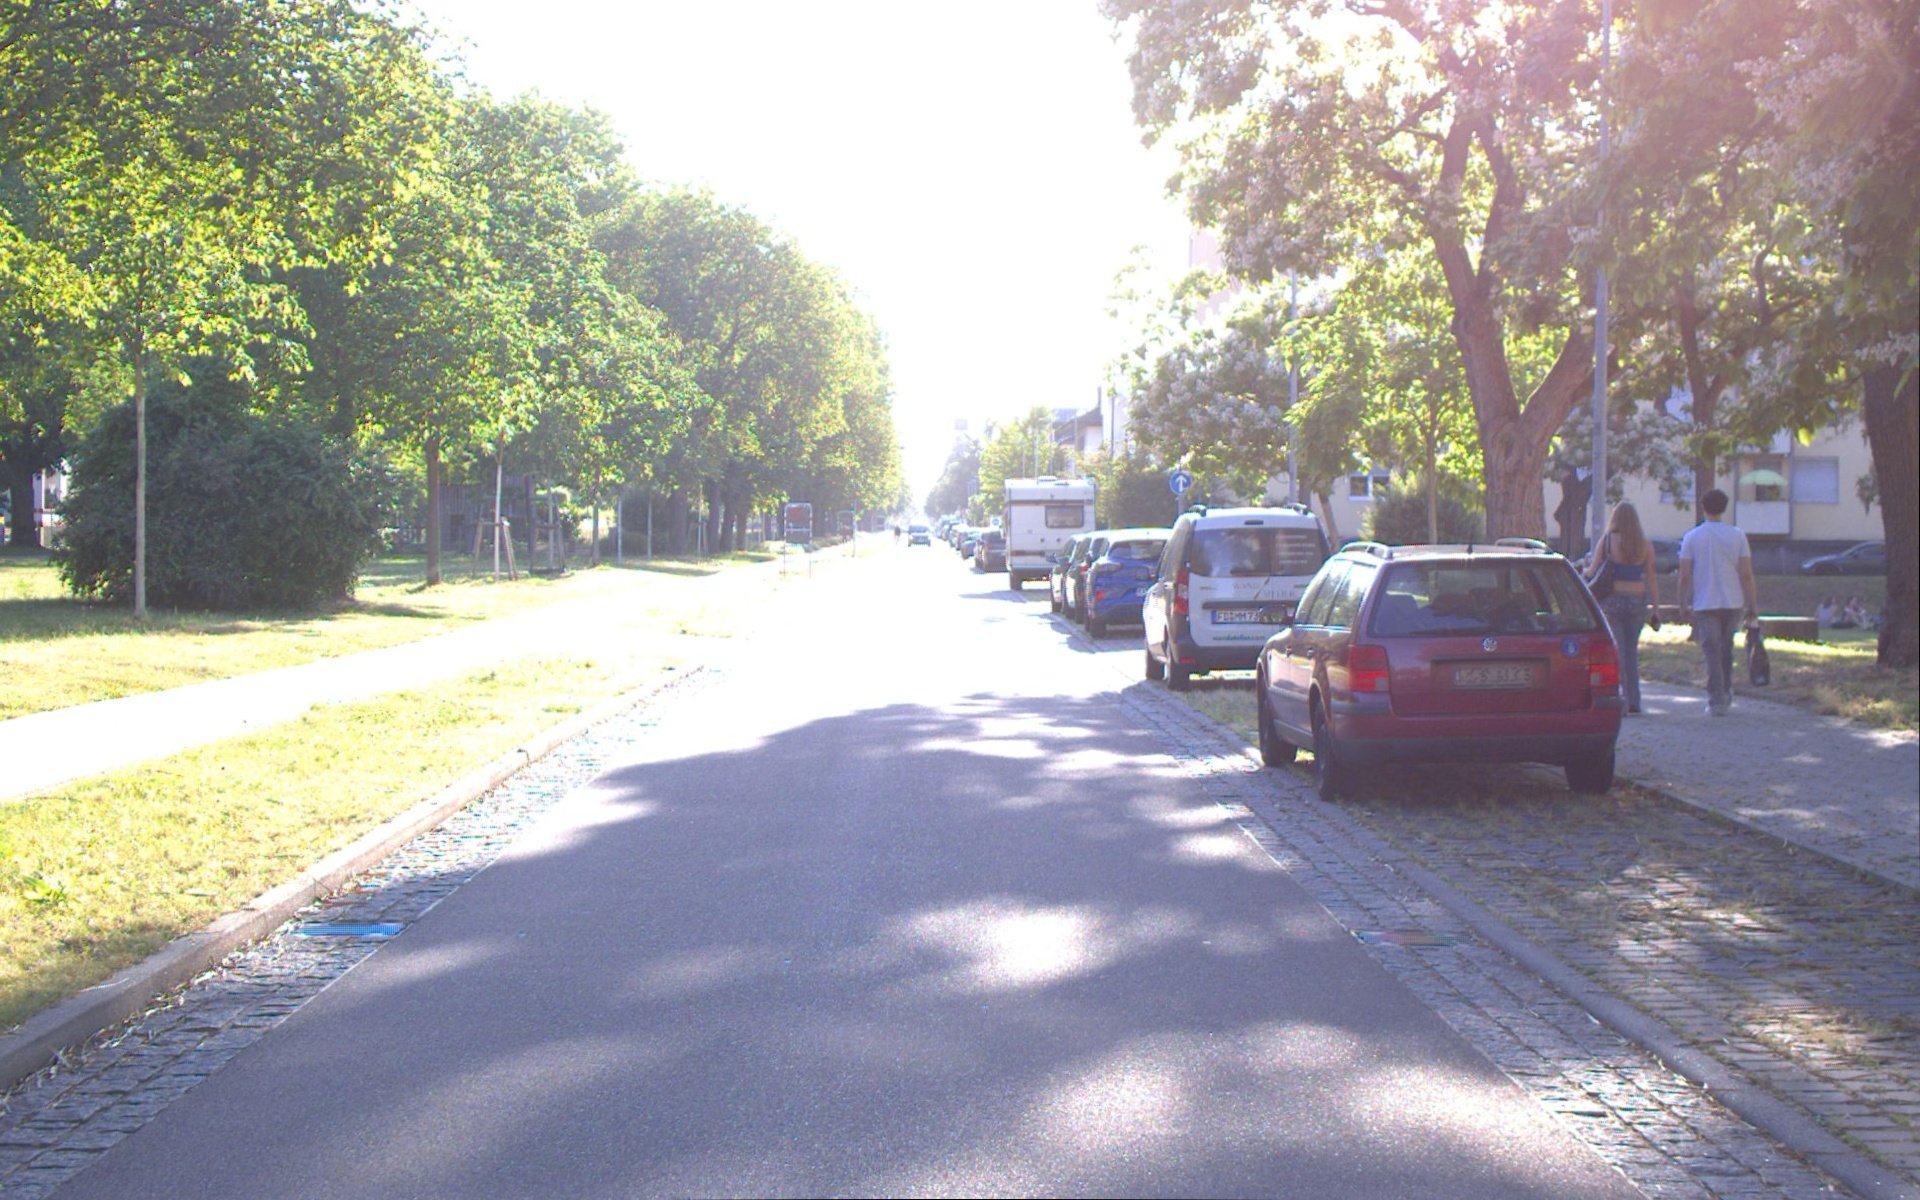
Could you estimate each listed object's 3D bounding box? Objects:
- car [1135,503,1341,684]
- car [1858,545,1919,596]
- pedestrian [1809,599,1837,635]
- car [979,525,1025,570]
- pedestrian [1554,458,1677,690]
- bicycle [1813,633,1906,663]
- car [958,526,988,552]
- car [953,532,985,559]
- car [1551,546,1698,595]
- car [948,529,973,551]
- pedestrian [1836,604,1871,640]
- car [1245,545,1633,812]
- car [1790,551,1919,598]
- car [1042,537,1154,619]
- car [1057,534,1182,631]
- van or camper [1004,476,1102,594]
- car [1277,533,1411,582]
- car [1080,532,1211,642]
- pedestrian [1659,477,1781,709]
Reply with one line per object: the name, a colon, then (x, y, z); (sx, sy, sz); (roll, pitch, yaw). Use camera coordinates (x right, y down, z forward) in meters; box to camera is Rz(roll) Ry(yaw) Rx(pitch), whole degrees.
car: (2.791, -0.086, 35.317); (1.678, 1.734, 4.514); (0, 1, -1)
car: (30.105, -0.911, 106.090); (4.515, 1.564, 1.879); (0, 1, 18)
pedestrian: (20.076, 0.404, 79.971); (0.472, 0.810, 0.612); (1, 1, 1)
car: (1.564, -1.984, 129.574); (1.626, 1.663, 4.249); (0, 1, -1)
pedestrian: (4.997, -0.207, 26.237); (0.753, 1.730, 0.732); (1, 1, 0)
bicycle: (20.390, 1.082, 77.888); (1.768, 0.613, 1.810); (1, 1, 24)
car: (0.725, -3.440, 194.432); (1.626, 1.405, 4.249); (0, 1, -1)
car: (0.473, -2.894, 183.254); (1.626, 1.405, 4.249); (0, 1, -1)
car: (19.872, -0.883, 102.727); (4.198, 1.458, 1.692); (0, 1, 15)
car: (0.007, -4.012, 230.845); (1.626, 1.405, 4.249); (0, 1, -1)
pedestrian: (20.975, 0.509, 80.723); (0.611, 0.810, 0.724); (1, 1, 1)
car: (2.860, 0.408, 21.508); (1.678, 1.481, 4.810); (0, 1, -1)
car: (26.592, -0.743, 100.835); (4.199, 1.353, 1.691); (0, 1, 20)
car: (2.509, -0.411, 63.573); (1.626, 1.459, 4.250); (0, 1, -4)
car: (2.596, -0.306, 56.990); (1.731, 1.545, 4.423); (0, 1, -2)
van or camper: (2.346, -1.612, 88.152); (2.234, 2.894, 5.673); (0, 0, -1)
car: (12.288, -1.367, 110.169); (4.195, 1.525, 2.000); (0, 1, 4)
car: (2.696, -0.209, 50.738); (1.732, 1.545, 4.275); (0, 1, 0)
pedestrian: (5.796, -0.061, 26.253); (0.725, 1.730, 0.732); (1, 1, 0)
